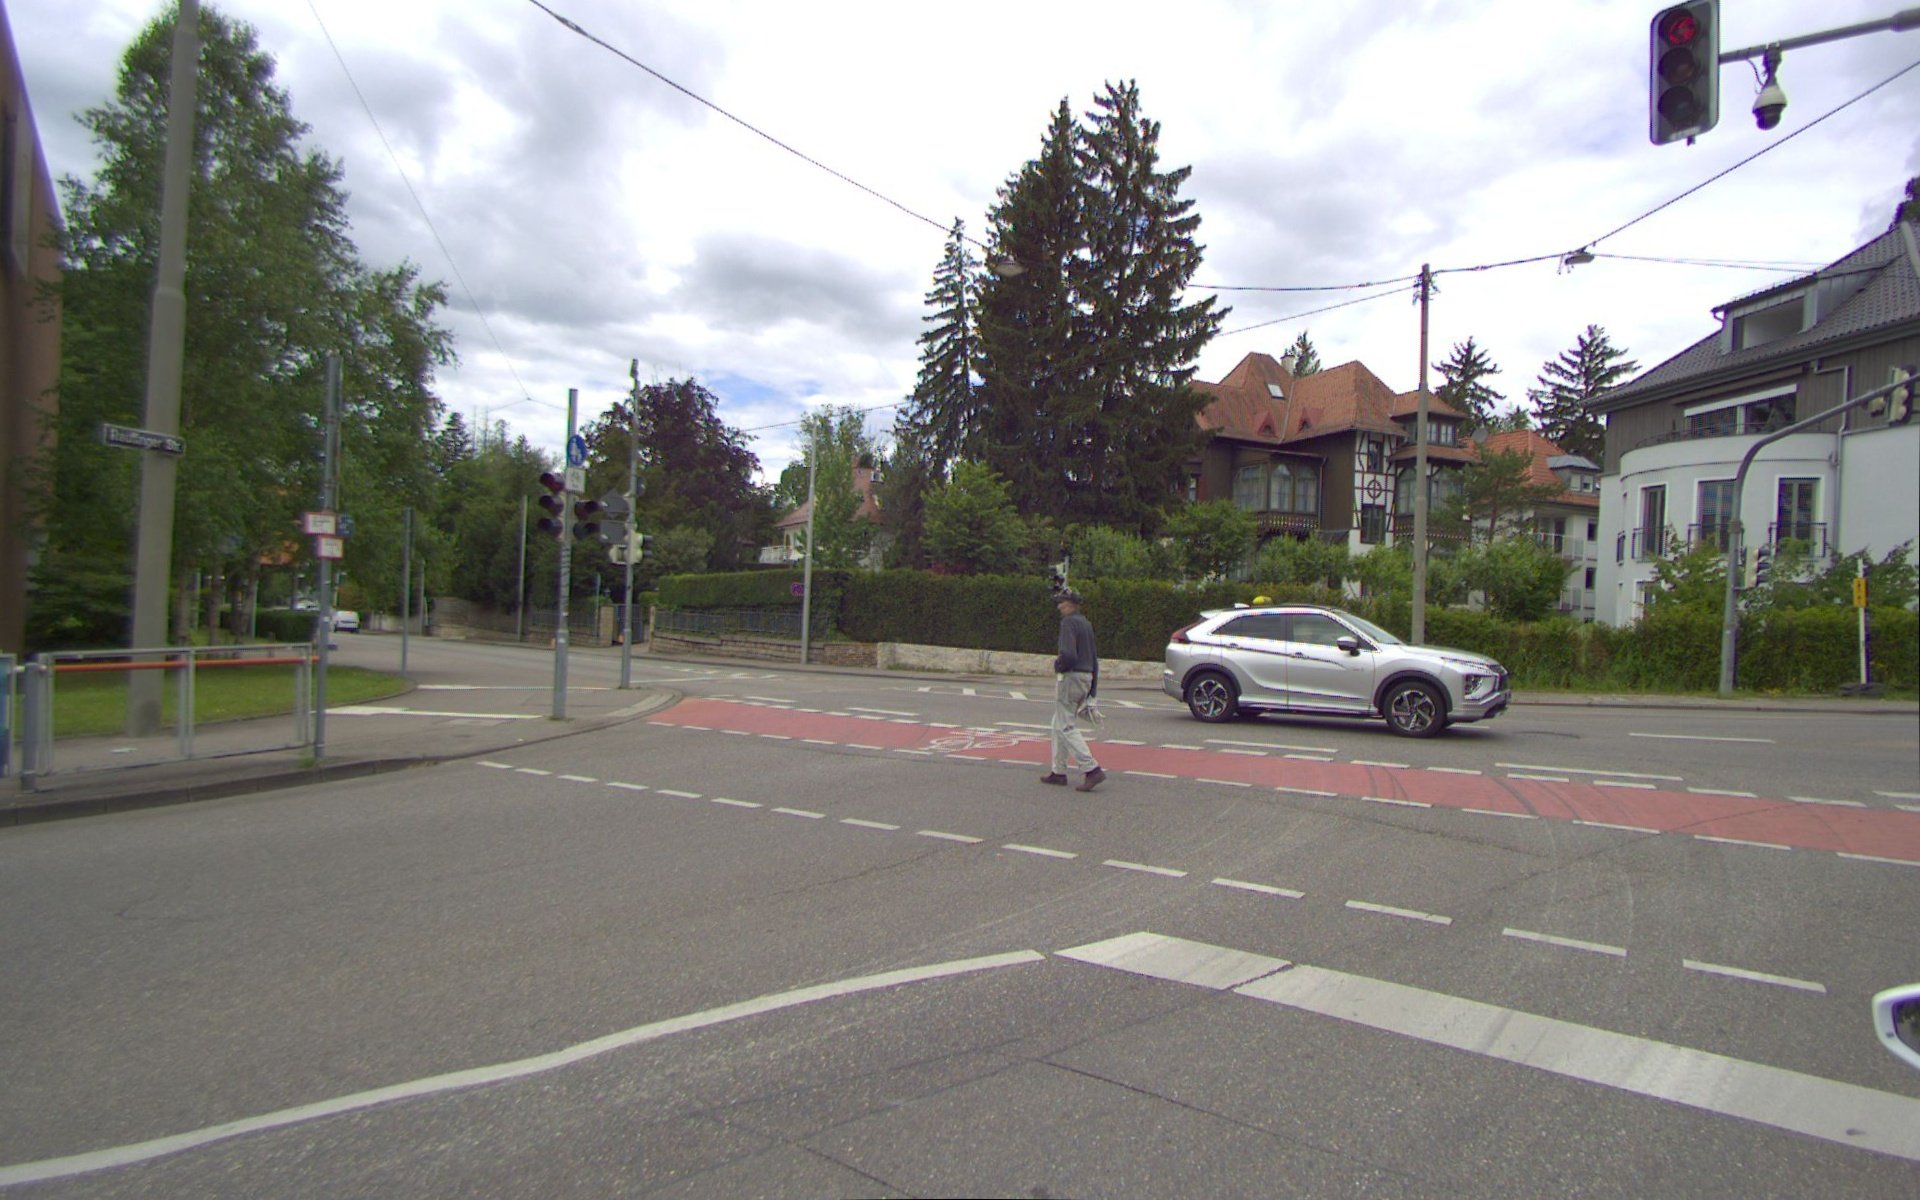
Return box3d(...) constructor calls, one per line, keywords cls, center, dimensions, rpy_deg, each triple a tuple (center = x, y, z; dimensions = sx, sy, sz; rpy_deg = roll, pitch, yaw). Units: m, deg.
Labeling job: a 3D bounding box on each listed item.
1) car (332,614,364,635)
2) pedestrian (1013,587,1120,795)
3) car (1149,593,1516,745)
box3d(cls="car", center=(-51.859, 2.038, 85.107), dimensions=(1.798, 1.734, 3.990), rpy_deg=(2, -2, -39))
box3d(cls="pedestrian", center=(0.903, 0.734, 8.453), dimensions=(0.726, 1.655, 0.683), rpy_deg=(-1, -1, 22))
box3d(cls="car", center=(5.012, 0.846, 13.768), dimensions=(4.413, 1.776, 1.807), rpy_deg=(0, -2, 35))
